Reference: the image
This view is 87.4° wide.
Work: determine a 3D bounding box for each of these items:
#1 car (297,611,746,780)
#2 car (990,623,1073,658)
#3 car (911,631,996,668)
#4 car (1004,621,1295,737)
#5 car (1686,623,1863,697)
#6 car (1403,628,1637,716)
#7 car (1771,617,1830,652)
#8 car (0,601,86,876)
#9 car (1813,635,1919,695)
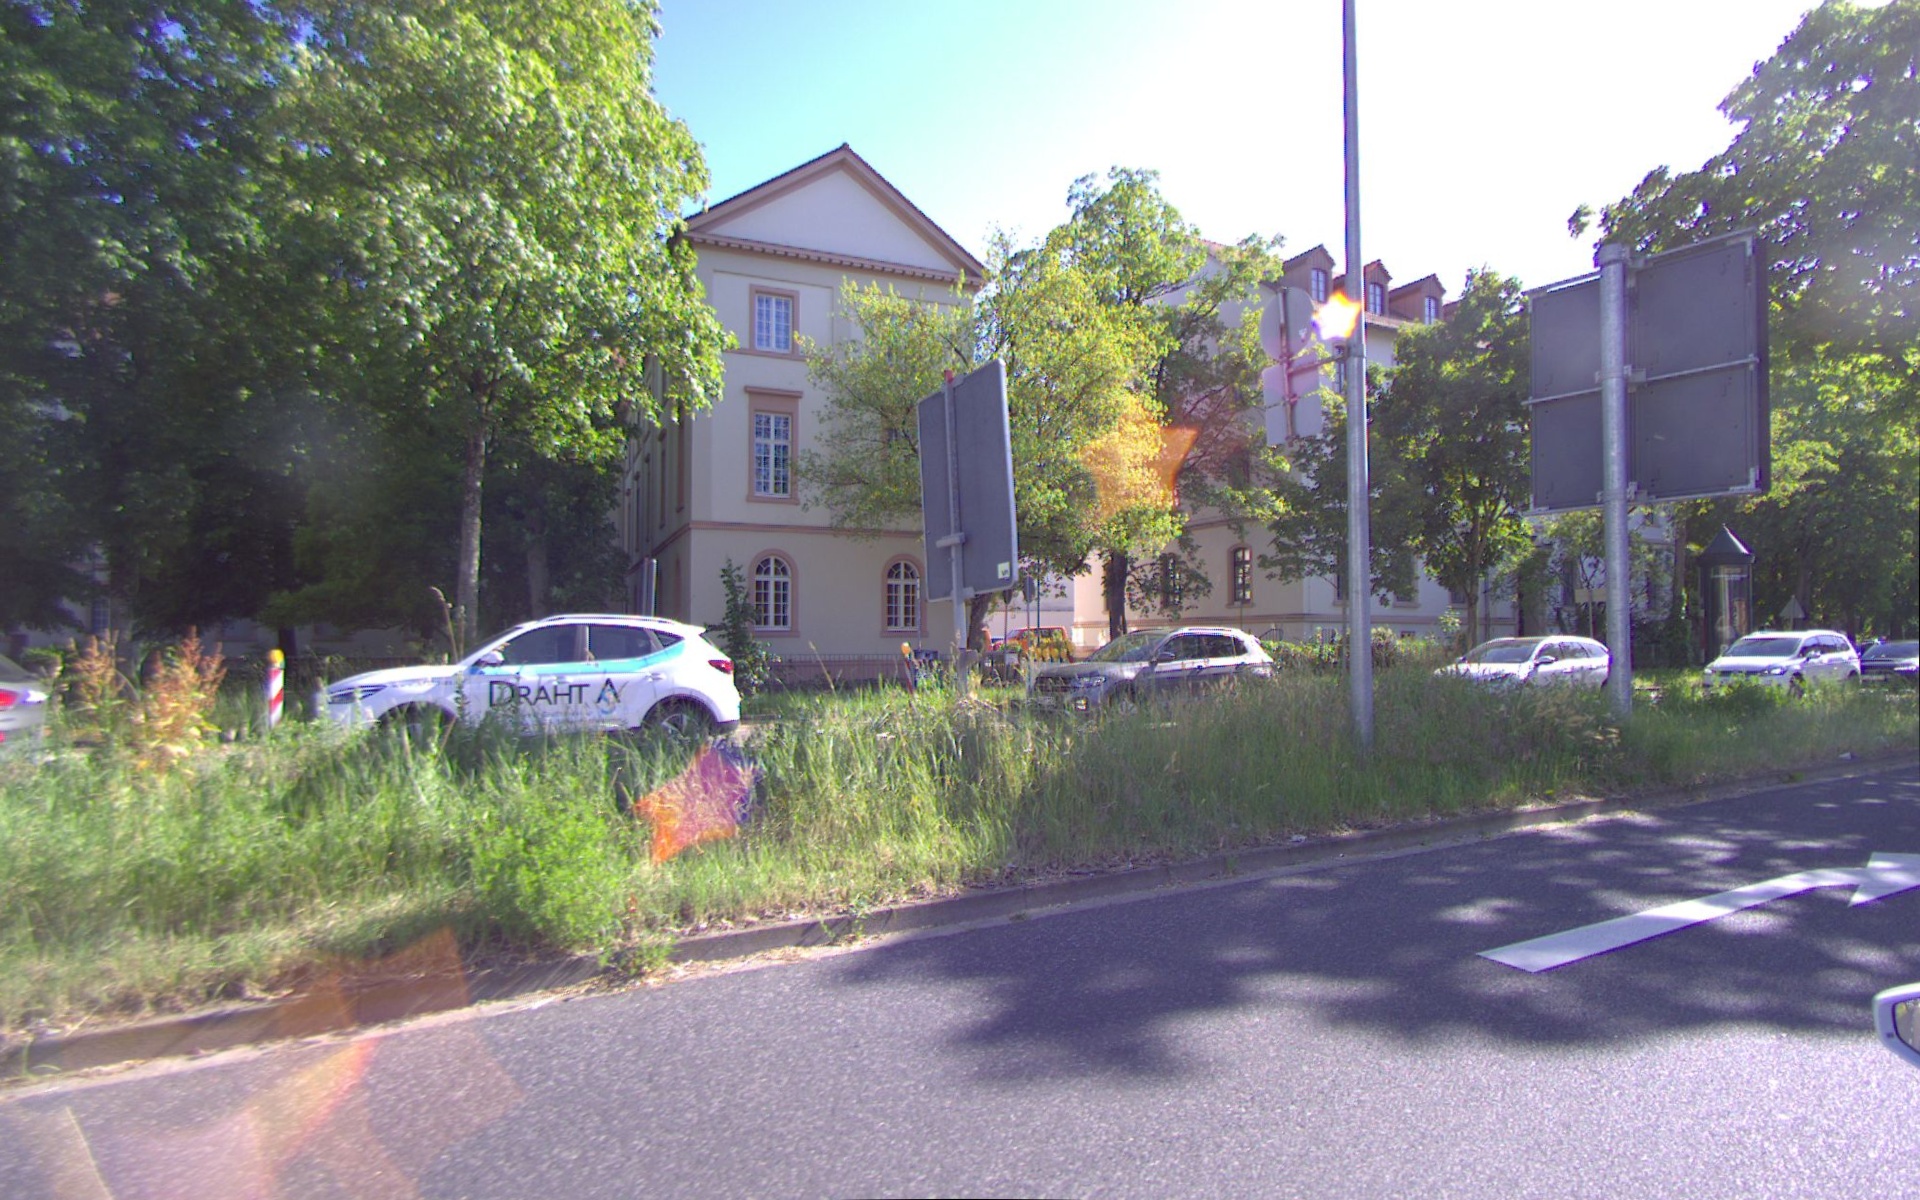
[{"bbox_3d":[-4.674,0.942,11.022,4.209,1.539,1.787,1,-2,-31],"label":"car"},{"bbox_3d":[4.458,2.534,62.620,4.726,1.982,1.988,-1,-2,-25],"label":"car"},{"bbox_3d":[-0.389,2.945,60.383,4.726,1.982,1.988,-1,-2,-25],"label":"car"},{"bbox_3d":[2.924,1.171,15.280,4.208,1.539,1.787,3,-2,-30],"label":"car"},{"bbox_3d":[19.802,1.429,24.385,4.485,1.647,1.892,1,-3,-31],"label":"car"},{"bbox_3d":[10.957,1.331,19.591,4.609,1.539,1.831,1,-2,-29],"label":"car"},{"bbox_3d":[64.955,2.700,77.646,4.926,2.354,1.838,5,-3,-29],"label":"car"},{"bbox_3d":[-7.820,0.696,5.441,4.273,1.639,1.745,5,-3,-30],"label":"car"},{"bbox_3d":[25.571,1.812,27.779,4.040,1.538,1.787,2,-4,-31],"label":"car"}]
